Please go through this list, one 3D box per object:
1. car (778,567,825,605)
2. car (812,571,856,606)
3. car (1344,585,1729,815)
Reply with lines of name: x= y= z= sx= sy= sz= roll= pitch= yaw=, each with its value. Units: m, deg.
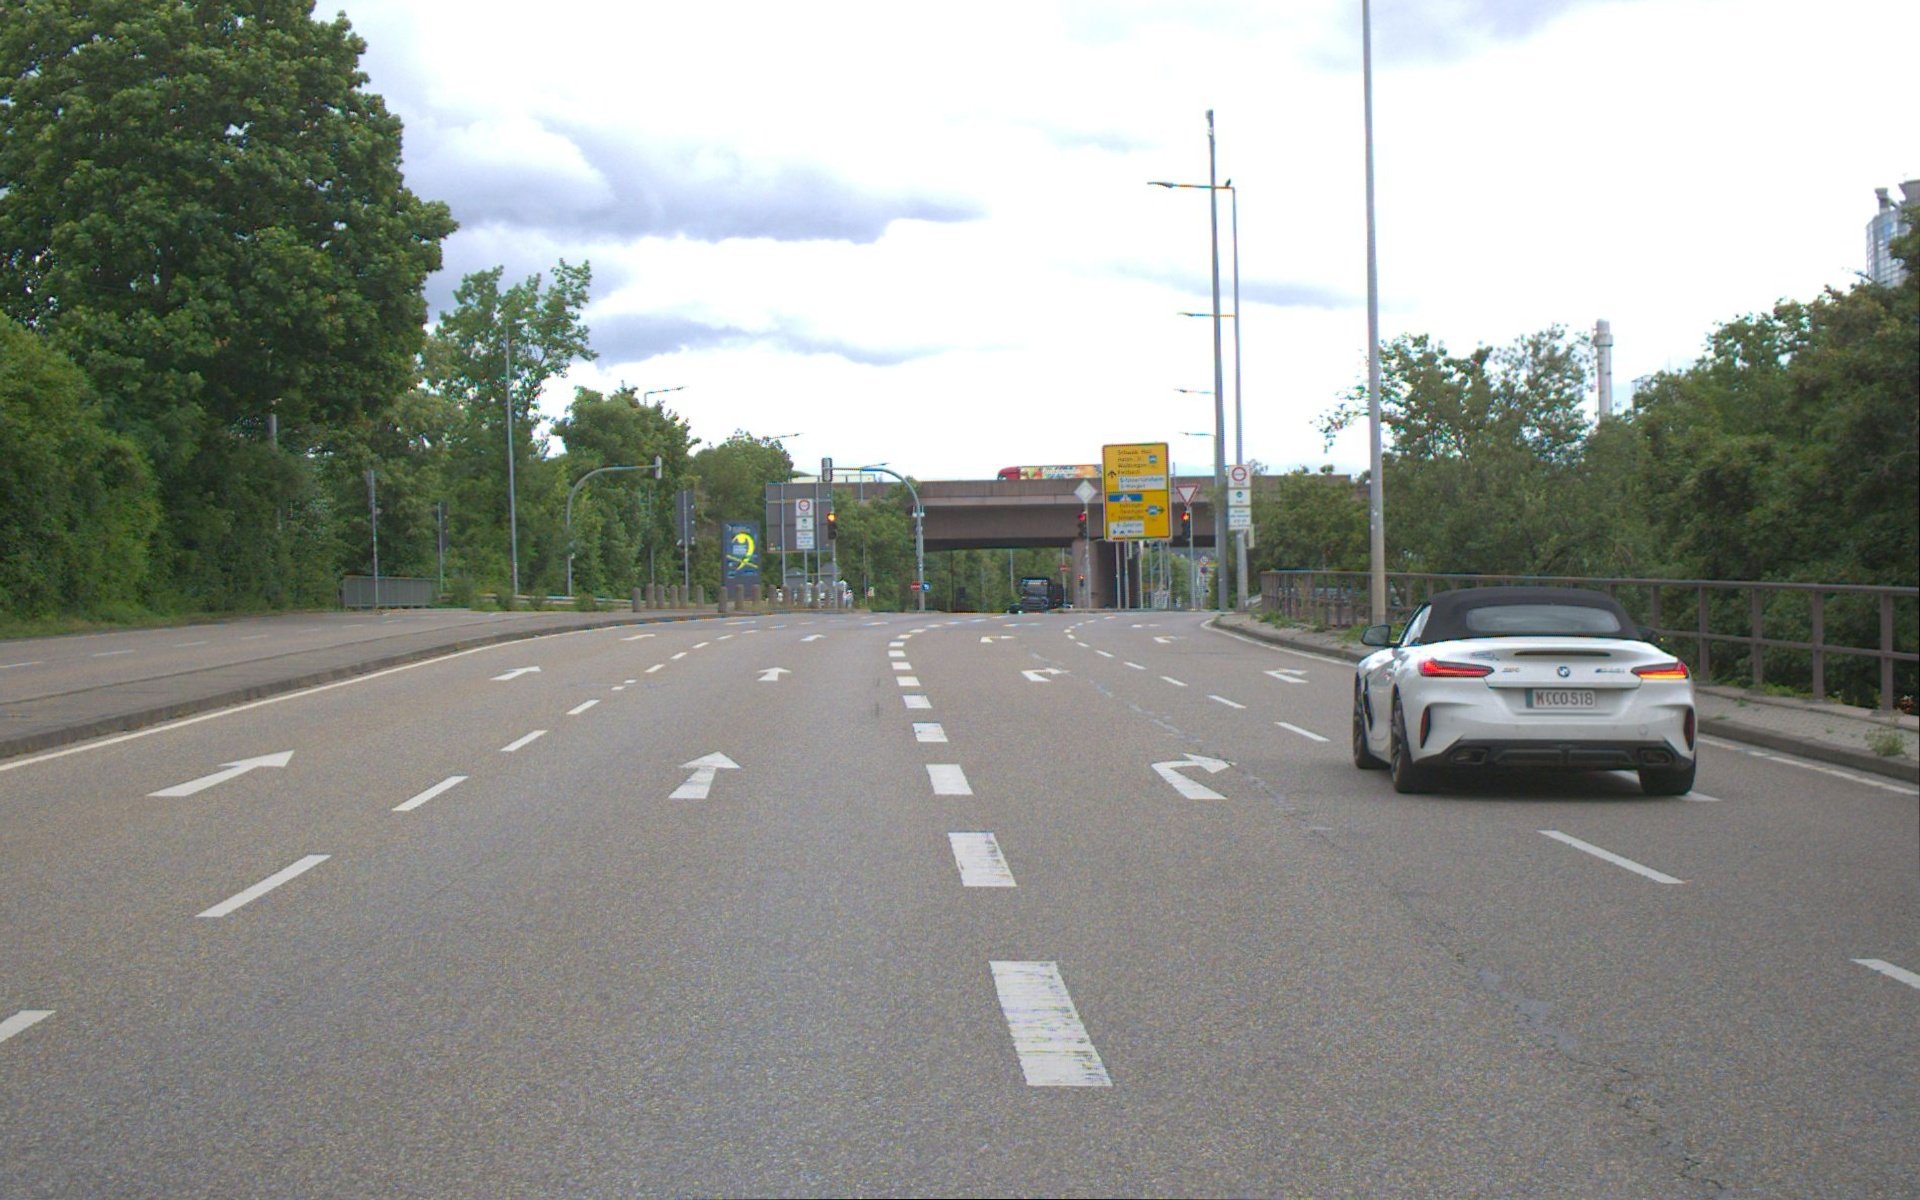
car: x=-7.000 y=-0.621 z=152.195 sx=1.771 sy=1.639 sz=3.824 roll=1 pitch=0 yaw=2
car: x=-5.927 y=-0.528 z=162.178 sx=1.771 sy=1.627 sz=3.824 roll=1 pitch=0 yaw=2
car: x=3.691 y=0.593 z=22.663 sx=1.875 sy=1.305 sz=3.873 roll=2 pitch=1 yaw=0
